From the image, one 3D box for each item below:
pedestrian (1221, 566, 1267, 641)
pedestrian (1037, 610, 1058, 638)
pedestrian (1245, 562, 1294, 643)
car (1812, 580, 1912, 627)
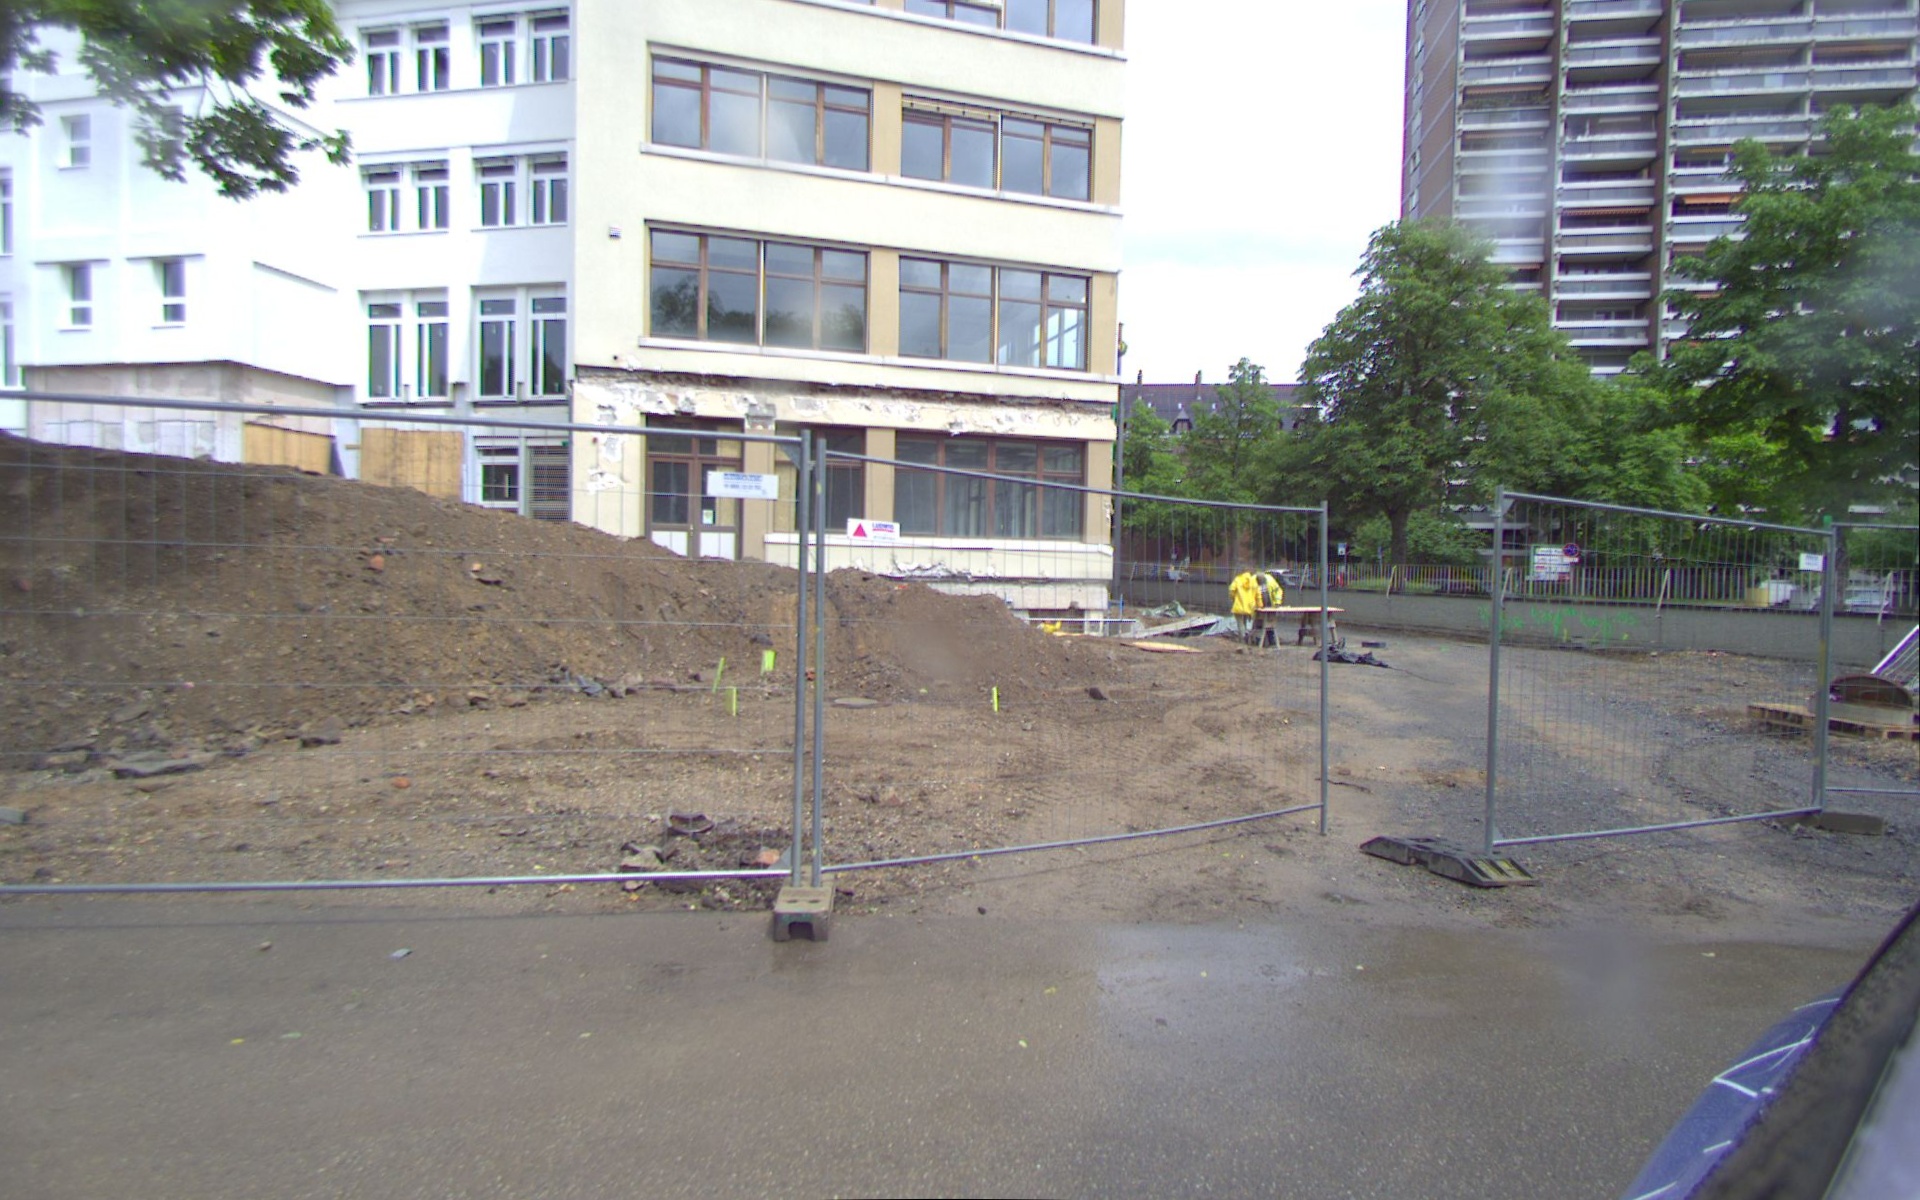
[{"bbox_3d":[5.951,0.068,21.227,0.636,1.527,0.626,1,1,-29],"label":"pedestrian"},{"bbox_3d":[2.116,0.577,24.435,0.384,0.670,0.347,1,1,-19],"label":"pedestrian"},{"bbox_3d":[6.702,0.049,21.887,0.773,1.694,0.703,2,1,38],"label":"pedestrian"},{"bbox_3d":[30.654,0.069,34.526,1.844,1.504,3.956,0,1,31],"label":"car"}]
